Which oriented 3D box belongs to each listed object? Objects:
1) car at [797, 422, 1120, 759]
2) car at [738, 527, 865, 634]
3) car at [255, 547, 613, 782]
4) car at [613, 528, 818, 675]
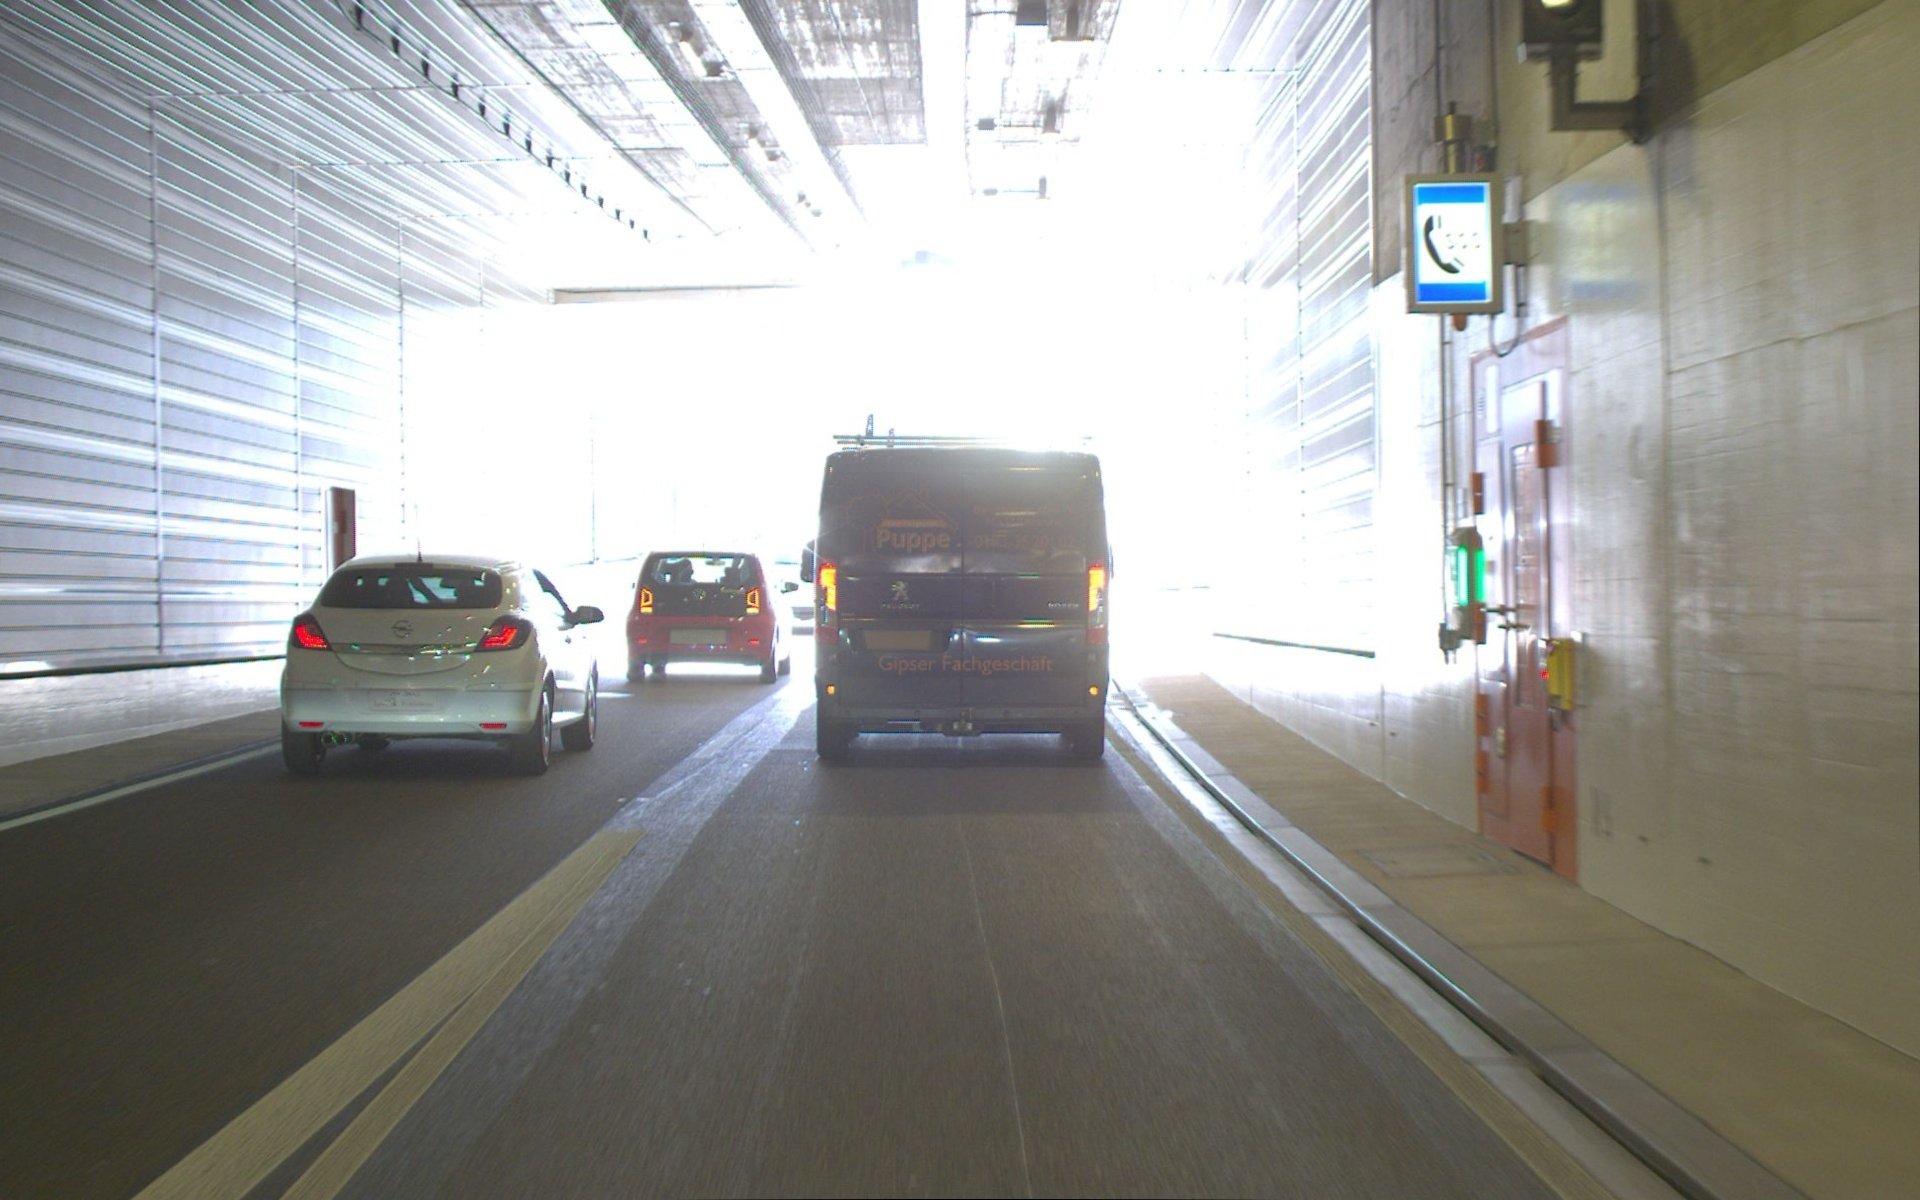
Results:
[{"bbox_3d":[0.005,-0.125,25.363,2.158,2.258,4.637,0,1,0],"label":"car"},{"bbox_3d":[-2.424,-0.280,53.424,1.876,1.576,4.220,1,0,-2],"label":"car"},{"bbox_3d":[-3.459,0.370,23.294,1.709,1.408,3.974,-1,1,1],"label":"car"},{"bbox_3d":[-2.648,-0.026,38.083,1.815,1.507,4.220,1,1,2],"label":"car"}]
